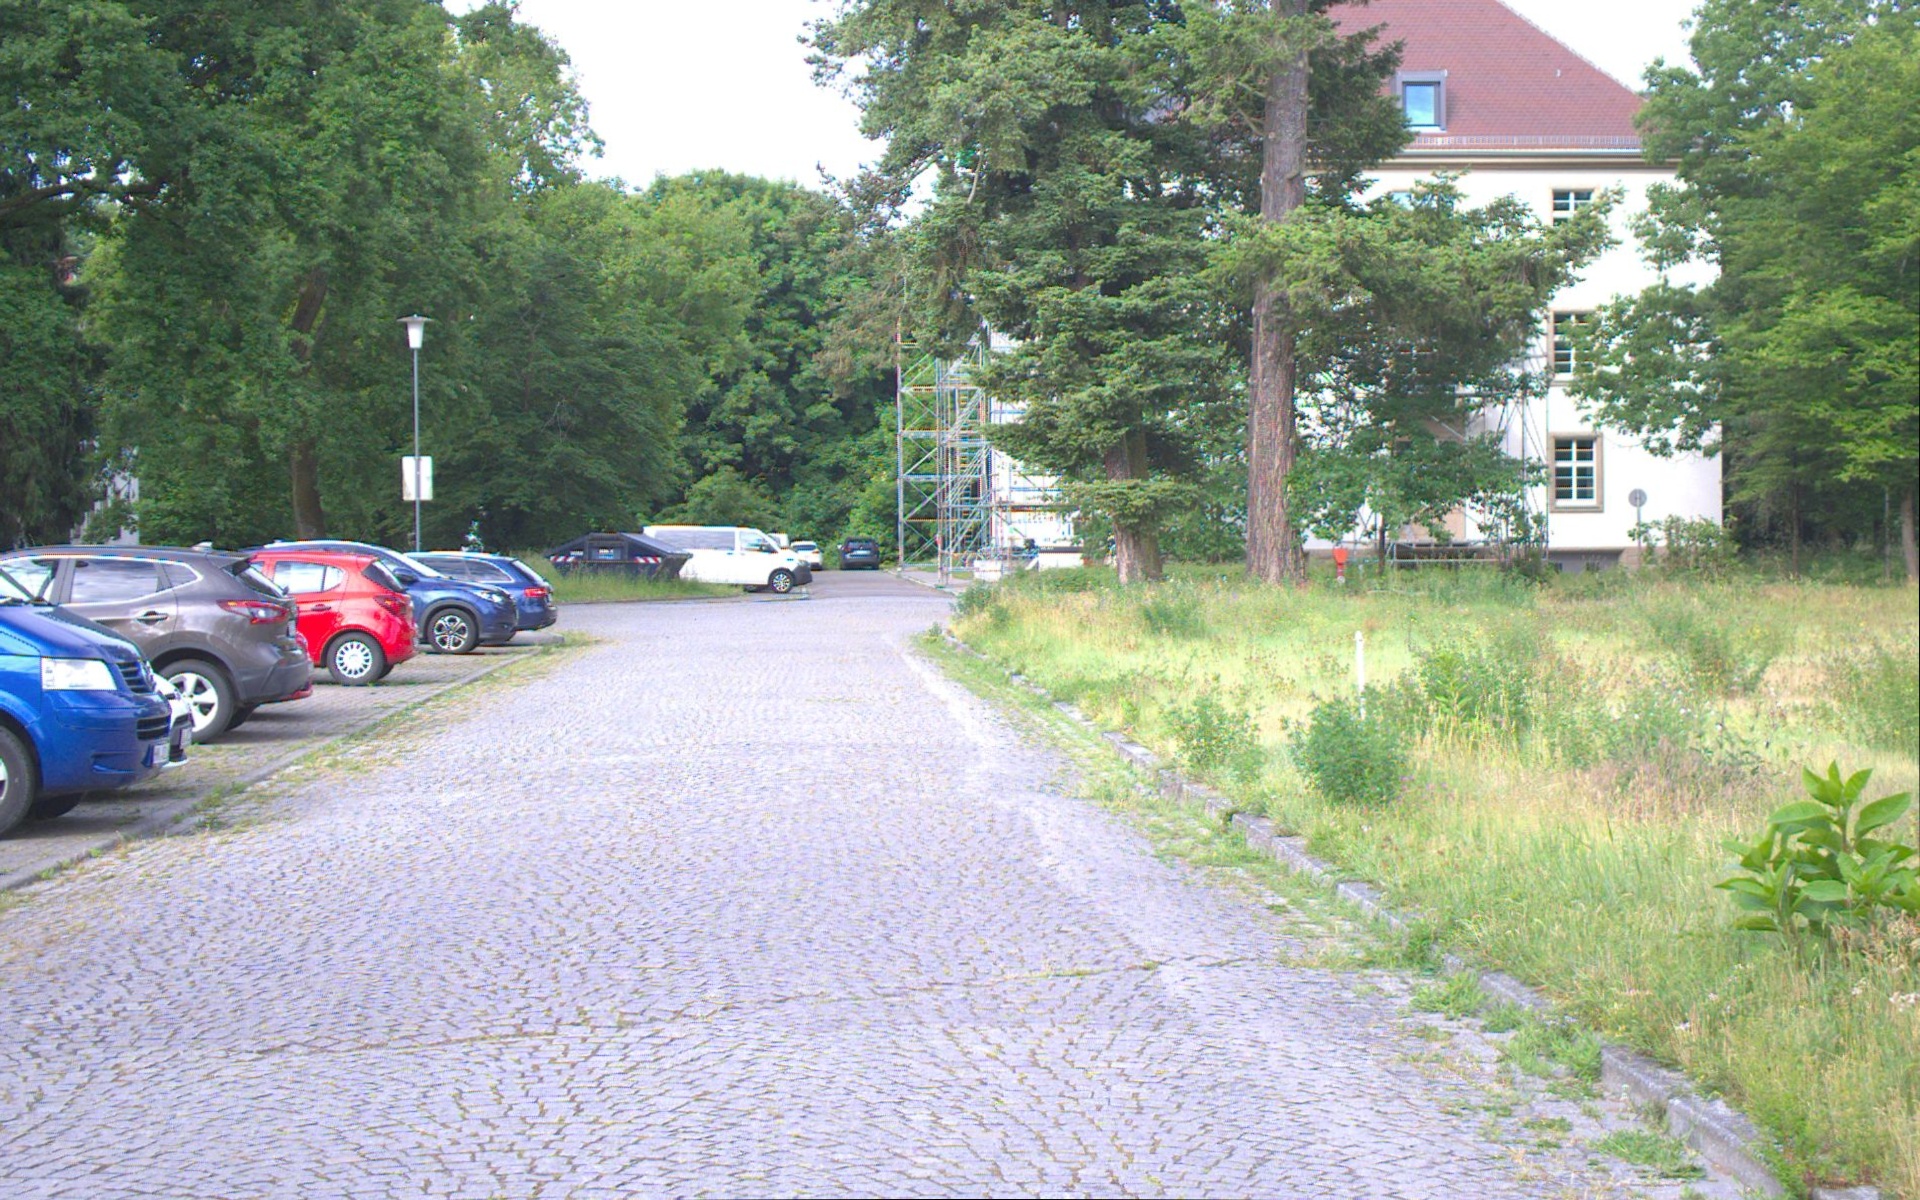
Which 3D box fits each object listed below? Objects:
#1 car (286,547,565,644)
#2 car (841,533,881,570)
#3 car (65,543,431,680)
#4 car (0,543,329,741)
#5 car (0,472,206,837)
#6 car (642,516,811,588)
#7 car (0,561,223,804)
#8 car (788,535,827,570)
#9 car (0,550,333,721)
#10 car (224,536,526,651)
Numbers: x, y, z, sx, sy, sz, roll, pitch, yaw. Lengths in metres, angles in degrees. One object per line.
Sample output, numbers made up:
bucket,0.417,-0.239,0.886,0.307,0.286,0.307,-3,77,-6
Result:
car,-8.303,-0.084,53.611,4.071,1.462,1.626,0,1,1
car,-4.877,-2.375,169.179,1.790,1.714,4.061,-1,0,-4
car,-7.951,0.115,38.665,3.815,1.484,1.788,0,1,-3
car,-7.377,0.319,28.365,4.067,1.570,1.955,0,1,-4
car,-6.825,0.271,19.505,4.709,1.974,2.038,0,1,-3
car,-6.962,-1.414,102.673,4.977,2.065,2.052,0,-1,-4
car,-6.773,0.502,22.098,3.793,1.488,1.726,0,1,-5
car,-7.484,-2.305,168.753,1.790,1.630,4.061,-1,0,-4
car,-7.719,0.301,31.141,3.815,1.481,1.762,0,1,-3
car,-8.279,-0.104,48.910,4.071,1.598,1.788,0,1,-4
